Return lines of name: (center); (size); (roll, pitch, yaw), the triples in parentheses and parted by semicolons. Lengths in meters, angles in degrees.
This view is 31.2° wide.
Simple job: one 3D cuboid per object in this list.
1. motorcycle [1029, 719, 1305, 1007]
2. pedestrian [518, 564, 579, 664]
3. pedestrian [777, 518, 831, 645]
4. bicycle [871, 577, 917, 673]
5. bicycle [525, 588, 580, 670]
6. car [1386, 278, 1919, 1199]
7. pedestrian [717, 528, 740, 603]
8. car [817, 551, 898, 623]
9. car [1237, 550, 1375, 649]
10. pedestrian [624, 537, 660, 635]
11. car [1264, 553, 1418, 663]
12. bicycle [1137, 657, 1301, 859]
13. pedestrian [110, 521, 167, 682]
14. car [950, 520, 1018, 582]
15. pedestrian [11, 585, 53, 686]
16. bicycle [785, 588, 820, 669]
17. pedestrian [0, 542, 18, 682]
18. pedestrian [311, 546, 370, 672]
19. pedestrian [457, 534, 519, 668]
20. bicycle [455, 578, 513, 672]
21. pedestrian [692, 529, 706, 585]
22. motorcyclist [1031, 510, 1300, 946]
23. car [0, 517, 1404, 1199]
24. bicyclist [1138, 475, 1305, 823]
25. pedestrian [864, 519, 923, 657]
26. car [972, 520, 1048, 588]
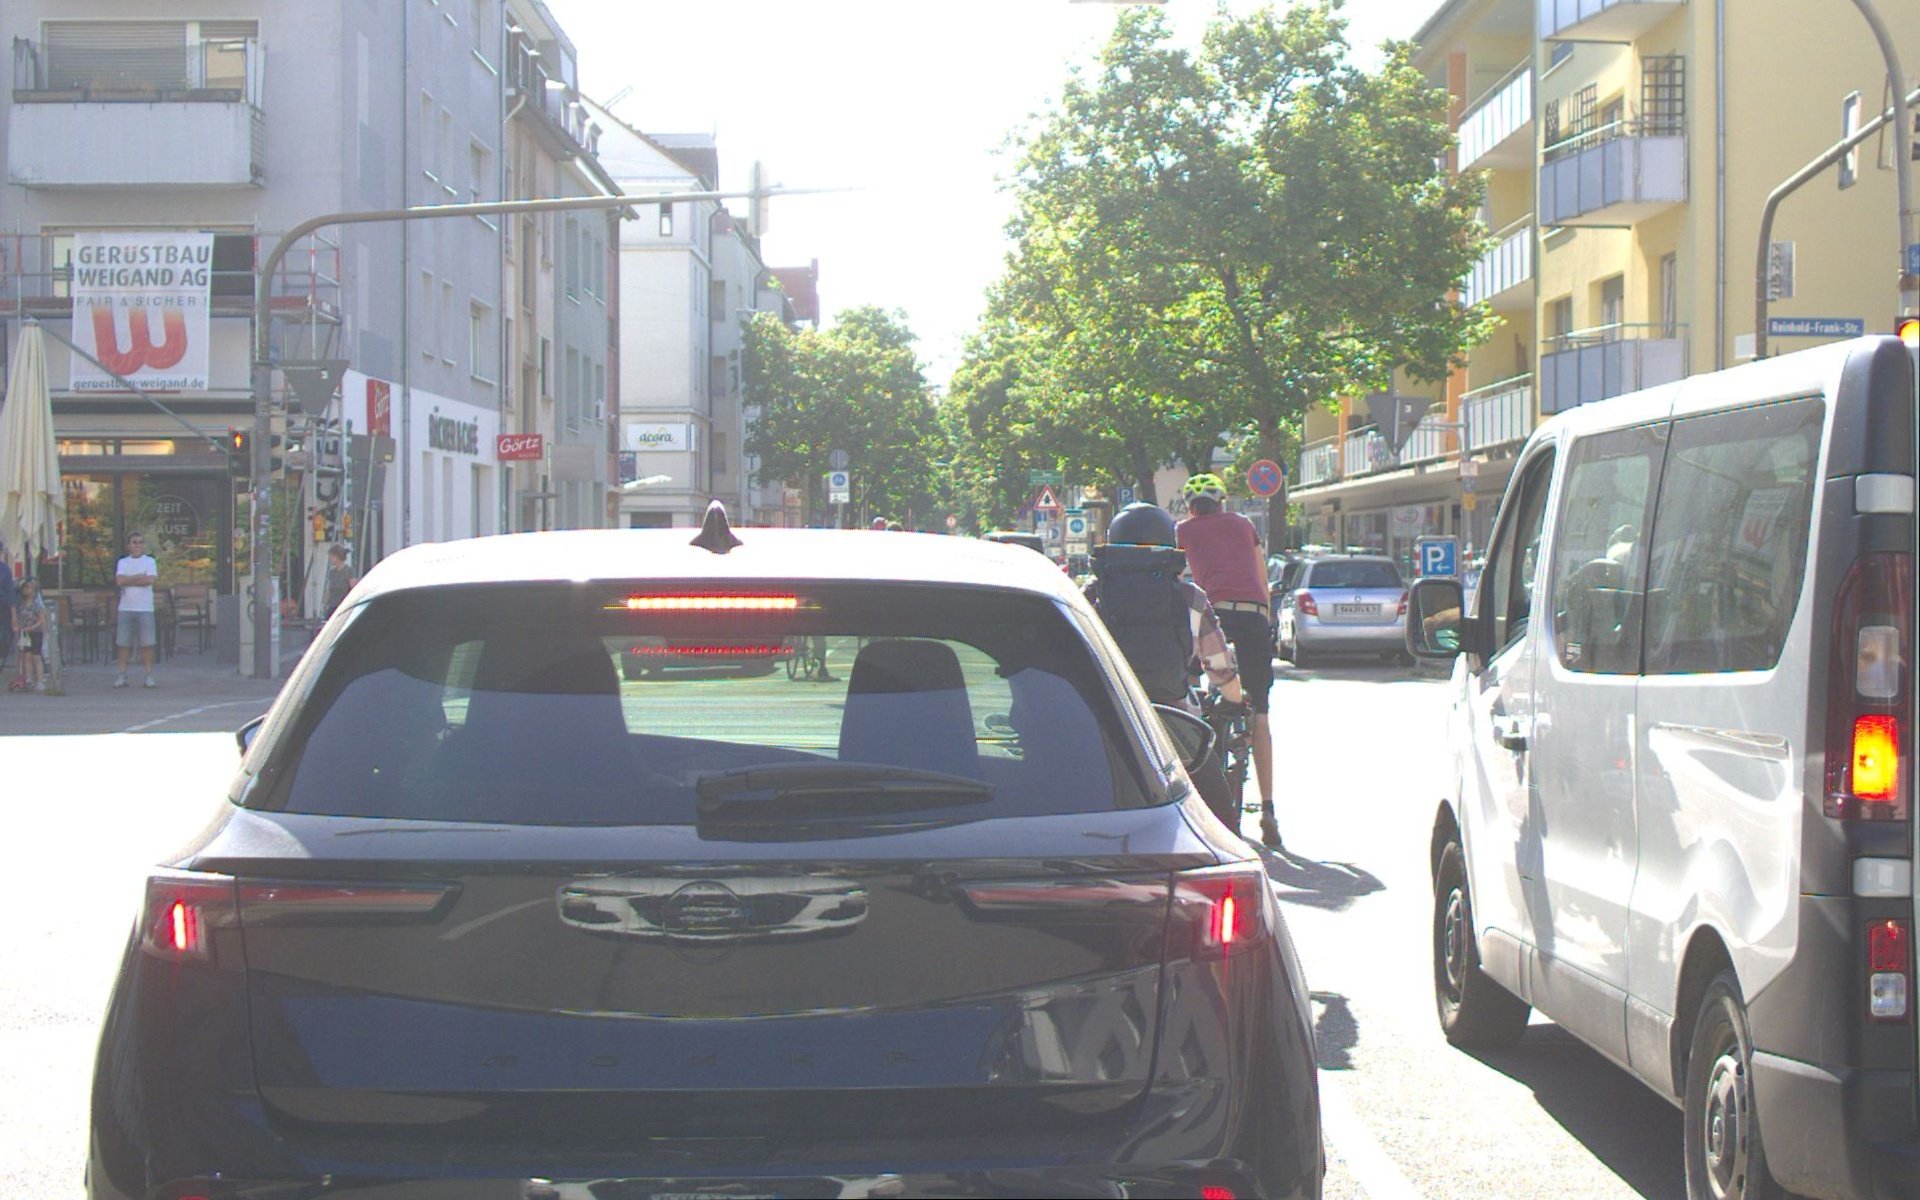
motorcycle: (0.692, 0.891, 12.141); (0.825, 0.842, 1.885); (0, 1, -1)
pedestrian: (-5.204, 0.177, 43.549); (0.706, 1.249, 0.802); (0, 1, -2)
pedestrian: (-1.988, -0.237, 43.854); (0.680, 1.600, 0.762); (0, 1, -2)
bicycle: (-0.830, 0.295, 42.611); (0.521, 1.143, 2.170); (0, 1, -2)
bicycle: (-5.205, 0.357, 43.986); (0.521, 0.989, 2.340); (0, 1, -2)
car: (2.442, 0.417, 8.500); (1.993, 1.972, 4.896); (2, 1, -1)
pedestrian: (-5.203, -0.774, 77.285); (0.488, 1.684, 0.588); (0, 1, -1)
car: (-2.530, -0.344, 85.515); (1.825, 1.722, 4.000); (0, 1, 1)
car: (5.191, -0.033, 51.930); (1.634, 1.428, 4.000); (0, 1, -1)
pedestrian: (-5.480, -0.248, 59.248); (0.570, 1.684, 0.588); (0, 1, -1)
car: (5.192, 0.079, 47.244); (1.634, 1.428, 3.957); (0, 1, -1)
bicycle: (1.310, 0.781, 17.725); (0.577, 0.901, 2.301); (0, 1, -2)
pedestrian: (-9.098, 0.016, 38.070); (0.561, 1.769, 0.584); (0, 1, -9)
car: (0.680, -1.411, 97.863); (1.902, 1.722, 4.000); (0, 1, 0)
pedestrian: (-10.121, 0.379, 37.507); (0.355, 1.088, 0.462); (0, 1, -3)
bicycle: (-2.013, 0.350, 44.035); (0.443, 0.989, 2.069); (0, 1, -2)
pedestrian: (-10.623, 0.125, 37.428); (0.584, 1.516, 0.650); (0, 1, -3)
pedestrian: (-7.524, 0.103, 41.786); (0.617, 1.516, 0.725); (0, 1, -3)
pedestrian: (-5.980, 0.005, 43.580); (0.706, 1.672, 0.802); (0, 1, -2)
bicycle: (-6.075, 0.305, 43.971); (0.521, 1.143, 2.284); (0, 1, -2)
pedestrian: (-7.781, -1.285, 102.522); (0.402, 1.669, 0.418); (0, 1, -1)
motorcyclist: (0.719, 0.433, 12.384); (0.864, 1.497, 1.160); (0, 1, -2)
car: (-0.413, 0.626, 6.292); (1.770, 1.525, 4.001); (0, 1, -2)
bicyclist: (1.321, 0.231, 17.588); (0.689, 1.707, 1.414); (0, 1, -2)
pedestrian: (-0.829, -0.153, 42.663); (0.706, 1.695, 0.802); (0, 1, -2)
car: (1.297, -1.194, 89.297); (1.902, 1.722, 4.073); (0, 1, 1)
